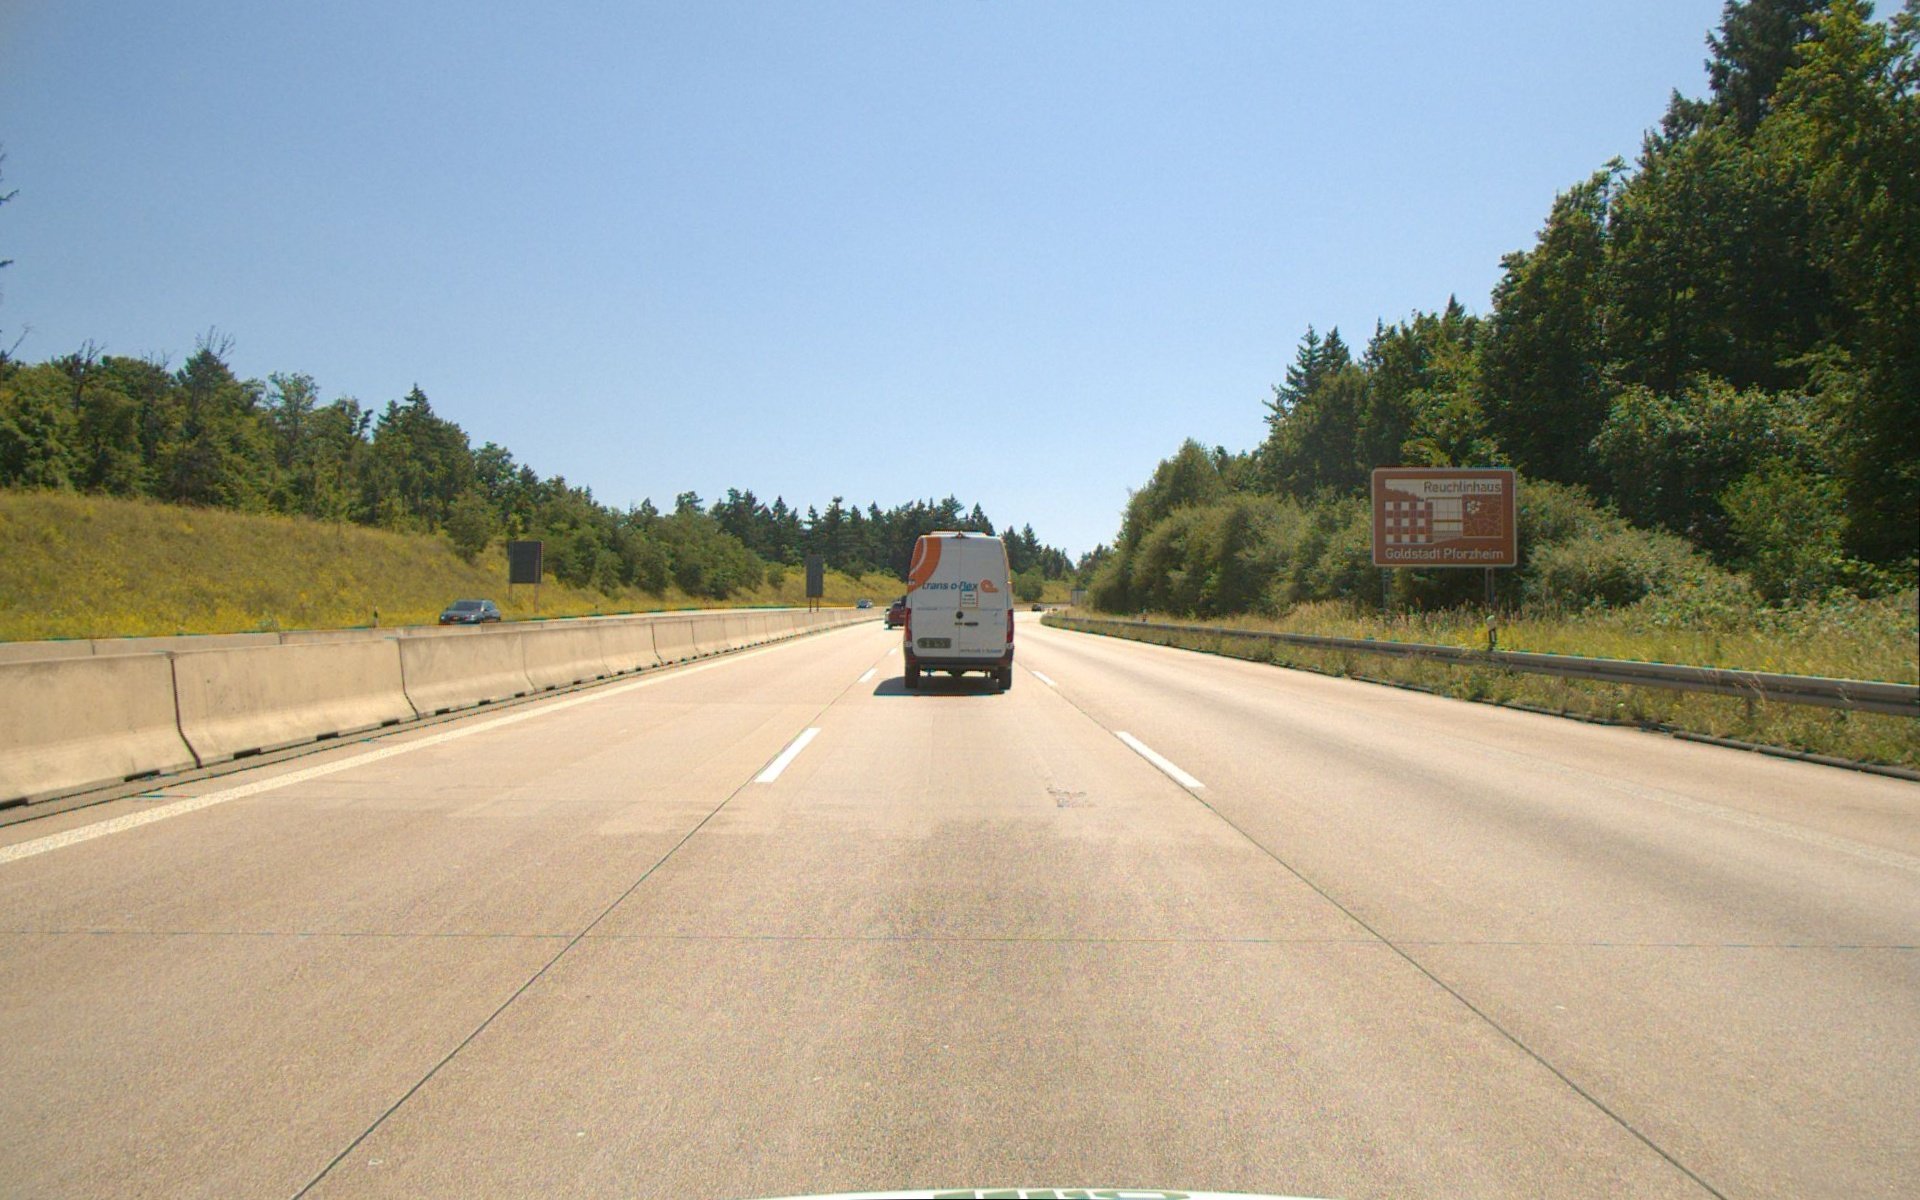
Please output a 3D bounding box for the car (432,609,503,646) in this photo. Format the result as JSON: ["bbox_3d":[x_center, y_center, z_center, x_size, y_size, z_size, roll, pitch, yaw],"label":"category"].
[{"bbox_3d":[-21.764,1.204,73.289,1.953,1.611,4.041,0,-1,0],"label":"car"}]

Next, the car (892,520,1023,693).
[{"bbox_3d":[-0.092,0.117,30.713,2.181,2.894,5.452,1,0,-1],"label":"car"}]

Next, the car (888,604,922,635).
[{"bbox_3d":[-3.232,1.156,98.608,1.953,1.825,3.999,1,-1,-1],"label":"car"}]

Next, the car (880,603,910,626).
[{"bbox_3d":[-4.936,1.097,126.045,1.952,1.713,4.001,0,-1,3],"label":"car"}]

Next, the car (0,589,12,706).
[{"bbox_3d":[-14.161,0.640,20.982,1.953,1.611,4.041,0,0,0],"label":"car"}]
